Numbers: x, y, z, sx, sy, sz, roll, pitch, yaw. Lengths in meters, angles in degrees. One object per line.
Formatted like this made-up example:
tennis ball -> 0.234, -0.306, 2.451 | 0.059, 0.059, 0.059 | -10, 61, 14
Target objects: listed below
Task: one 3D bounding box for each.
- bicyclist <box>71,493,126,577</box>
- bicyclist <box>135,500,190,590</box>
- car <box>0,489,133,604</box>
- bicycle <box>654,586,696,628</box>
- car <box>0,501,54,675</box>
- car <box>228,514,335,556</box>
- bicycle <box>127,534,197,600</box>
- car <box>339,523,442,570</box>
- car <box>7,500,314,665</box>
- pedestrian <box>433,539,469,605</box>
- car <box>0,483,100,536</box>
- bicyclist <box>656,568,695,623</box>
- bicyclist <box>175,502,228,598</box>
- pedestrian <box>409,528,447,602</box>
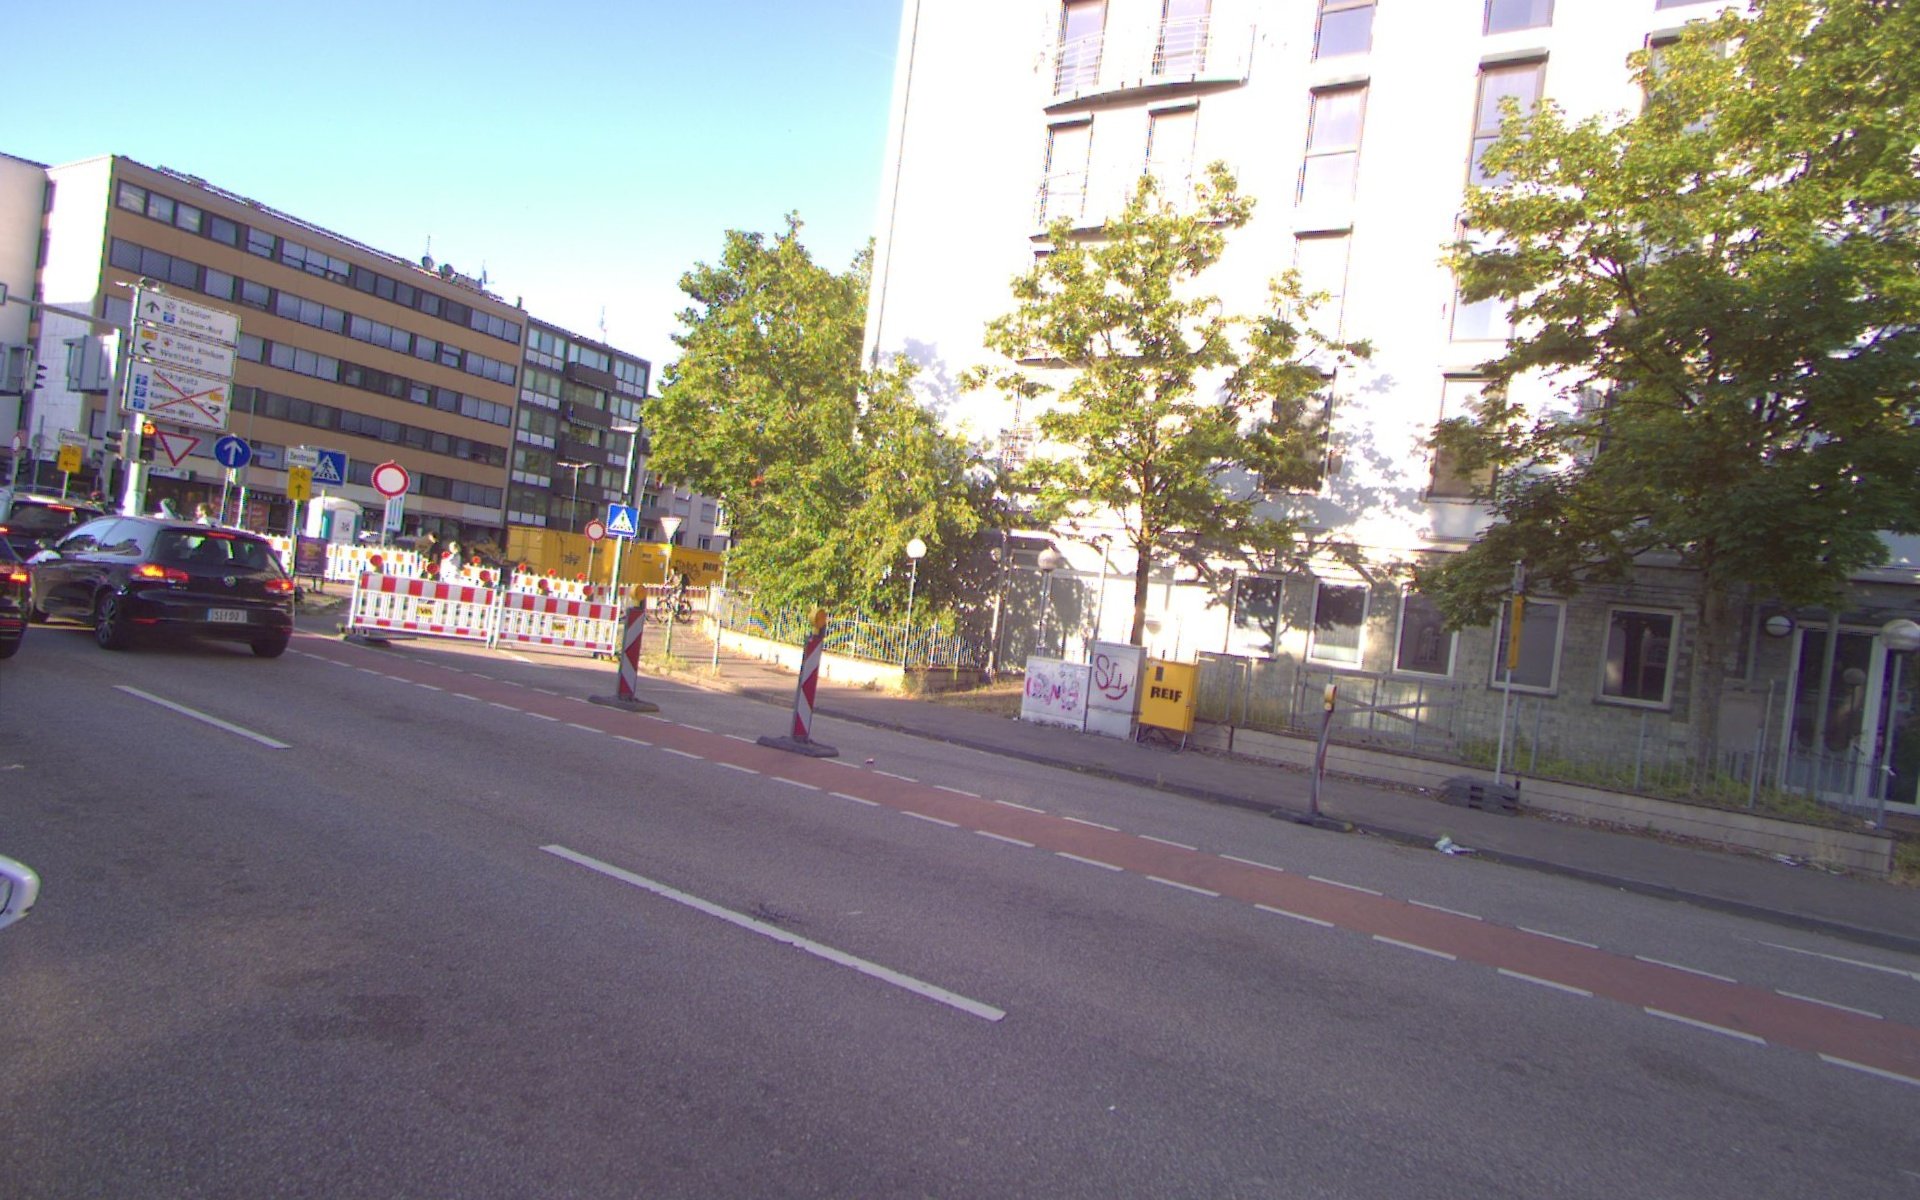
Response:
bicyclist -> -16.961, -1.272, 19.808 | 0.713, 1.544, 0.514 | 7, 1, 32
bicyclist -> -14.512, -1.007, 18.302 | 0.713, 1.544, 0.441 | 7, 1, 32
car -> -14.156, -0.898, 15.204 | 3.250, 1.467, 1.507 | 7, 0, 32
bicycle -> -8.883, 0.225, 31.409 | 0.367, 1.174, 1.501 | 8, -1, 18
car -> -10.037, -0.368, 8.998 | 4.144, 1.437, 1.685 | 7, -2, 32
car -> -31.437, -2.997, 46.678 | 1.668, 1.405, 3.678 | 7, 1, 31
bicycle -> -14.494, -0.612, 18.258 | 1.825, 1.020, 0.337 | 7, 1, 32
car -> -30.252, -2.804, 53.537 | 1.967, 1.839, 4.221 | 7, 0, 32
car -> -9.659, -0.234, 12.100 | 3.683, 1.466, 1.637 | 7, -2, 32
pedestrian -> -13.665, -0.739, 27.012 | 0.446, 1.692, 0.604 | 7, 1, 8
car -> -35.398, -3.505, 37.753 | 1.756, 1.568, 4.350 | 7, -1, 25
bicyclist -> -8.866, -0.131, 31.394 | 0.608, 1.608, 0.815 | 8, 0, 17
bicyclist -> -12.825, -0.834, 17.007 | 0.474, 1.544, 0.441 | 7, 1, 32
pedestrian -> -13.875, -0.905, 26.229 | 0.478, 1.857, 0.571 | 7, 1, 2
